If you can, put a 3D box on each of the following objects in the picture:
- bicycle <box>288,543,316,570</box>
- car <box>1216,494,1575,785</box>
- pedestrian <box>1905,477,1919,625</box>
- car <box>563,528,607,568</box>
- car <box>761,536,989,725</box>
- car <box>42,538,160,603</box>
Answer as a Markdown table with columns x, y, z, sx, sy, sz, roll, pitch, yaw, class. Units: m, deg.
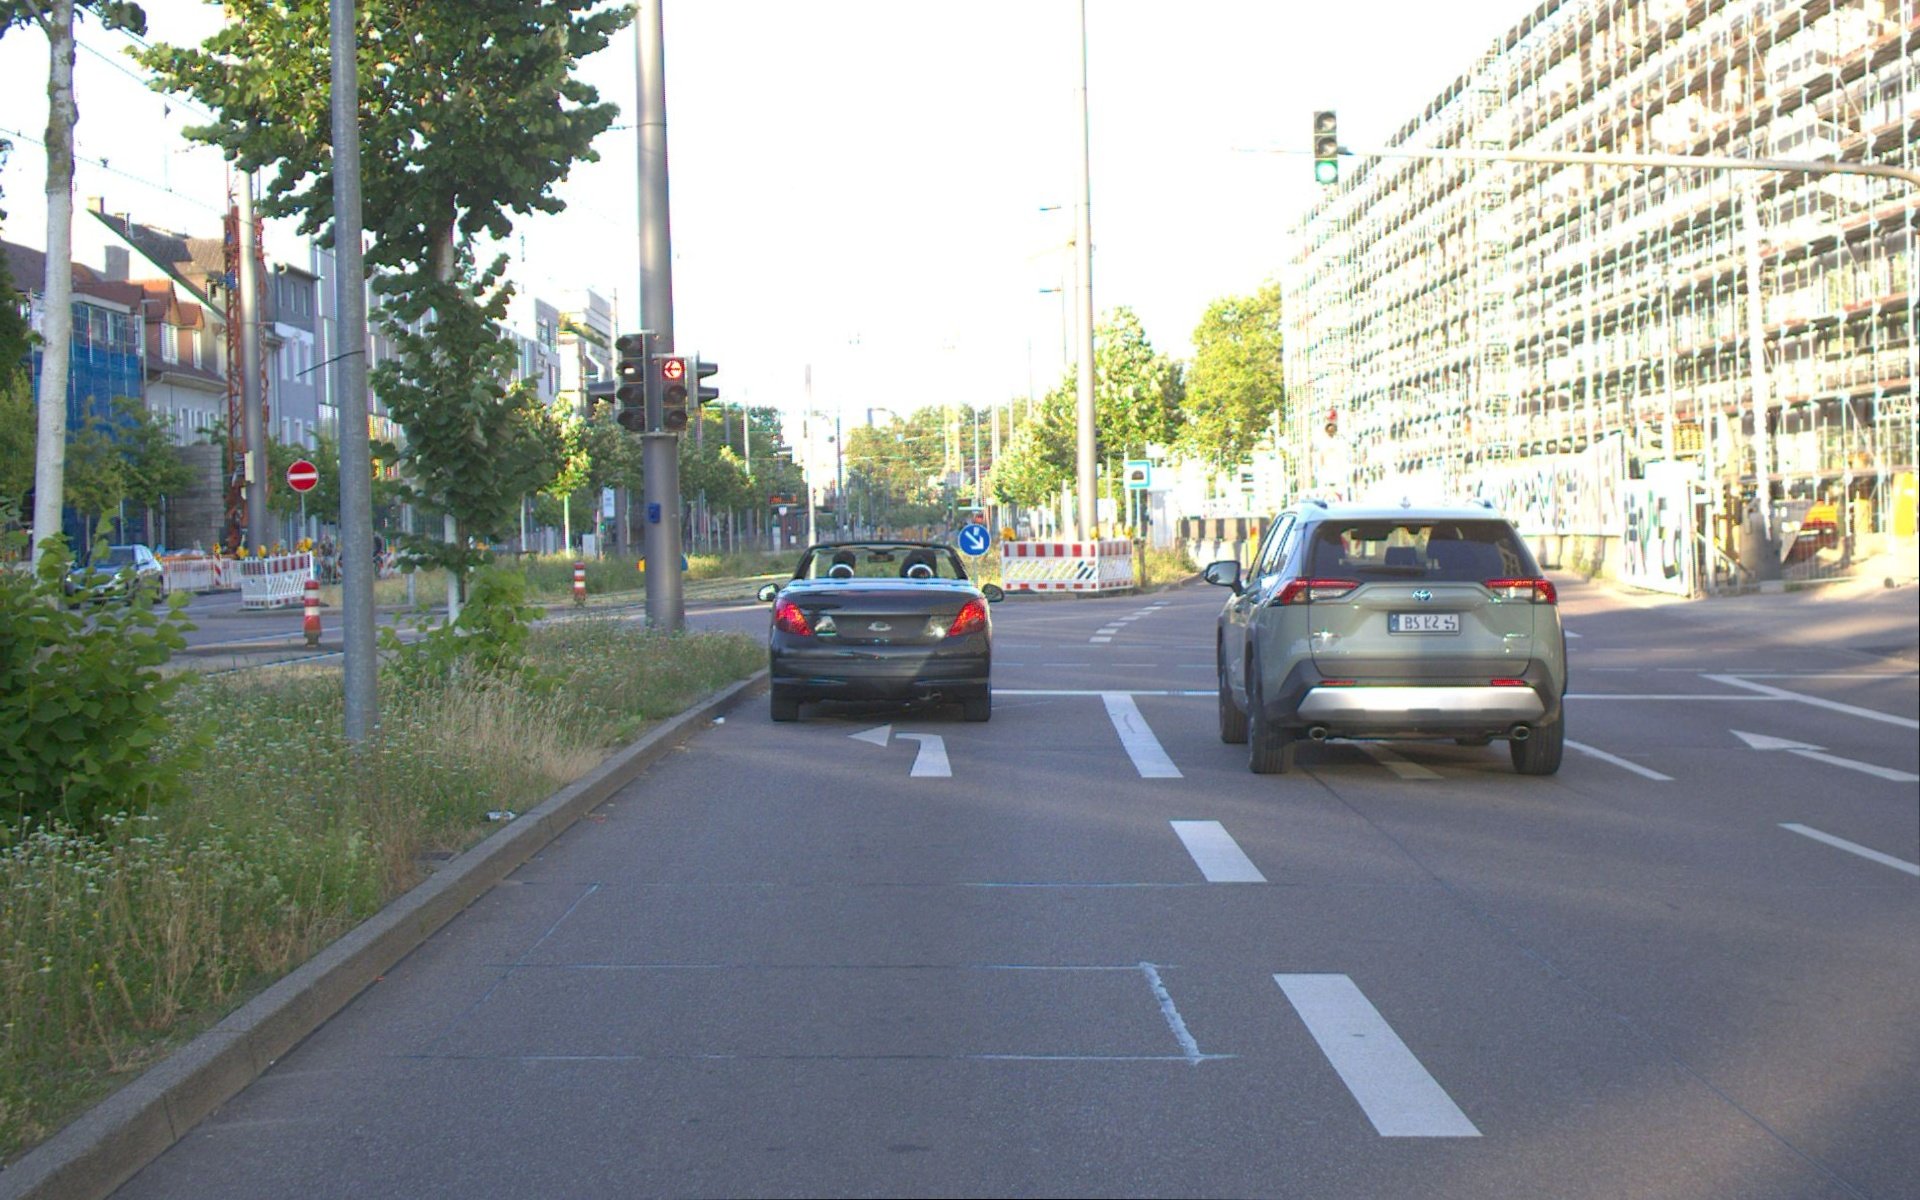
| x | y | z | sx | sy | sz | roll | pitch | yaw | class |
| --- | --- | --- | --- | --- | --- | --- | --- | --- | --- |
| -24.268 | -1.611 | 126.713 | 0.590 | 0.985 | 1.556 | 0 | 2 | -27 | bicycle |
| 2.659 | 0.167 | 21.866 | 1.834 | 1.666 | 4.283 | 0 | 2 | 1 | car |
| 12.381 | -0.630 | 43.221 | 0.768 | 1.841 | 0.678 | -2 | 1 | 0 | pedestrian |
| -19.039 | -2.645 | 174.613 | 1.658 | 1.957 | 4.266 | 1 | 2 | 1 | car |
| -0.639 | 0.189 | 27.205 | 1.674 | 1.347 | 4.000 | 0 | 2 | 0 | car |
| -22.842 | -0.808 | 91.553 | 1.993 | 1.574 | 4.124 | -3 | 2 | 1 | car |
